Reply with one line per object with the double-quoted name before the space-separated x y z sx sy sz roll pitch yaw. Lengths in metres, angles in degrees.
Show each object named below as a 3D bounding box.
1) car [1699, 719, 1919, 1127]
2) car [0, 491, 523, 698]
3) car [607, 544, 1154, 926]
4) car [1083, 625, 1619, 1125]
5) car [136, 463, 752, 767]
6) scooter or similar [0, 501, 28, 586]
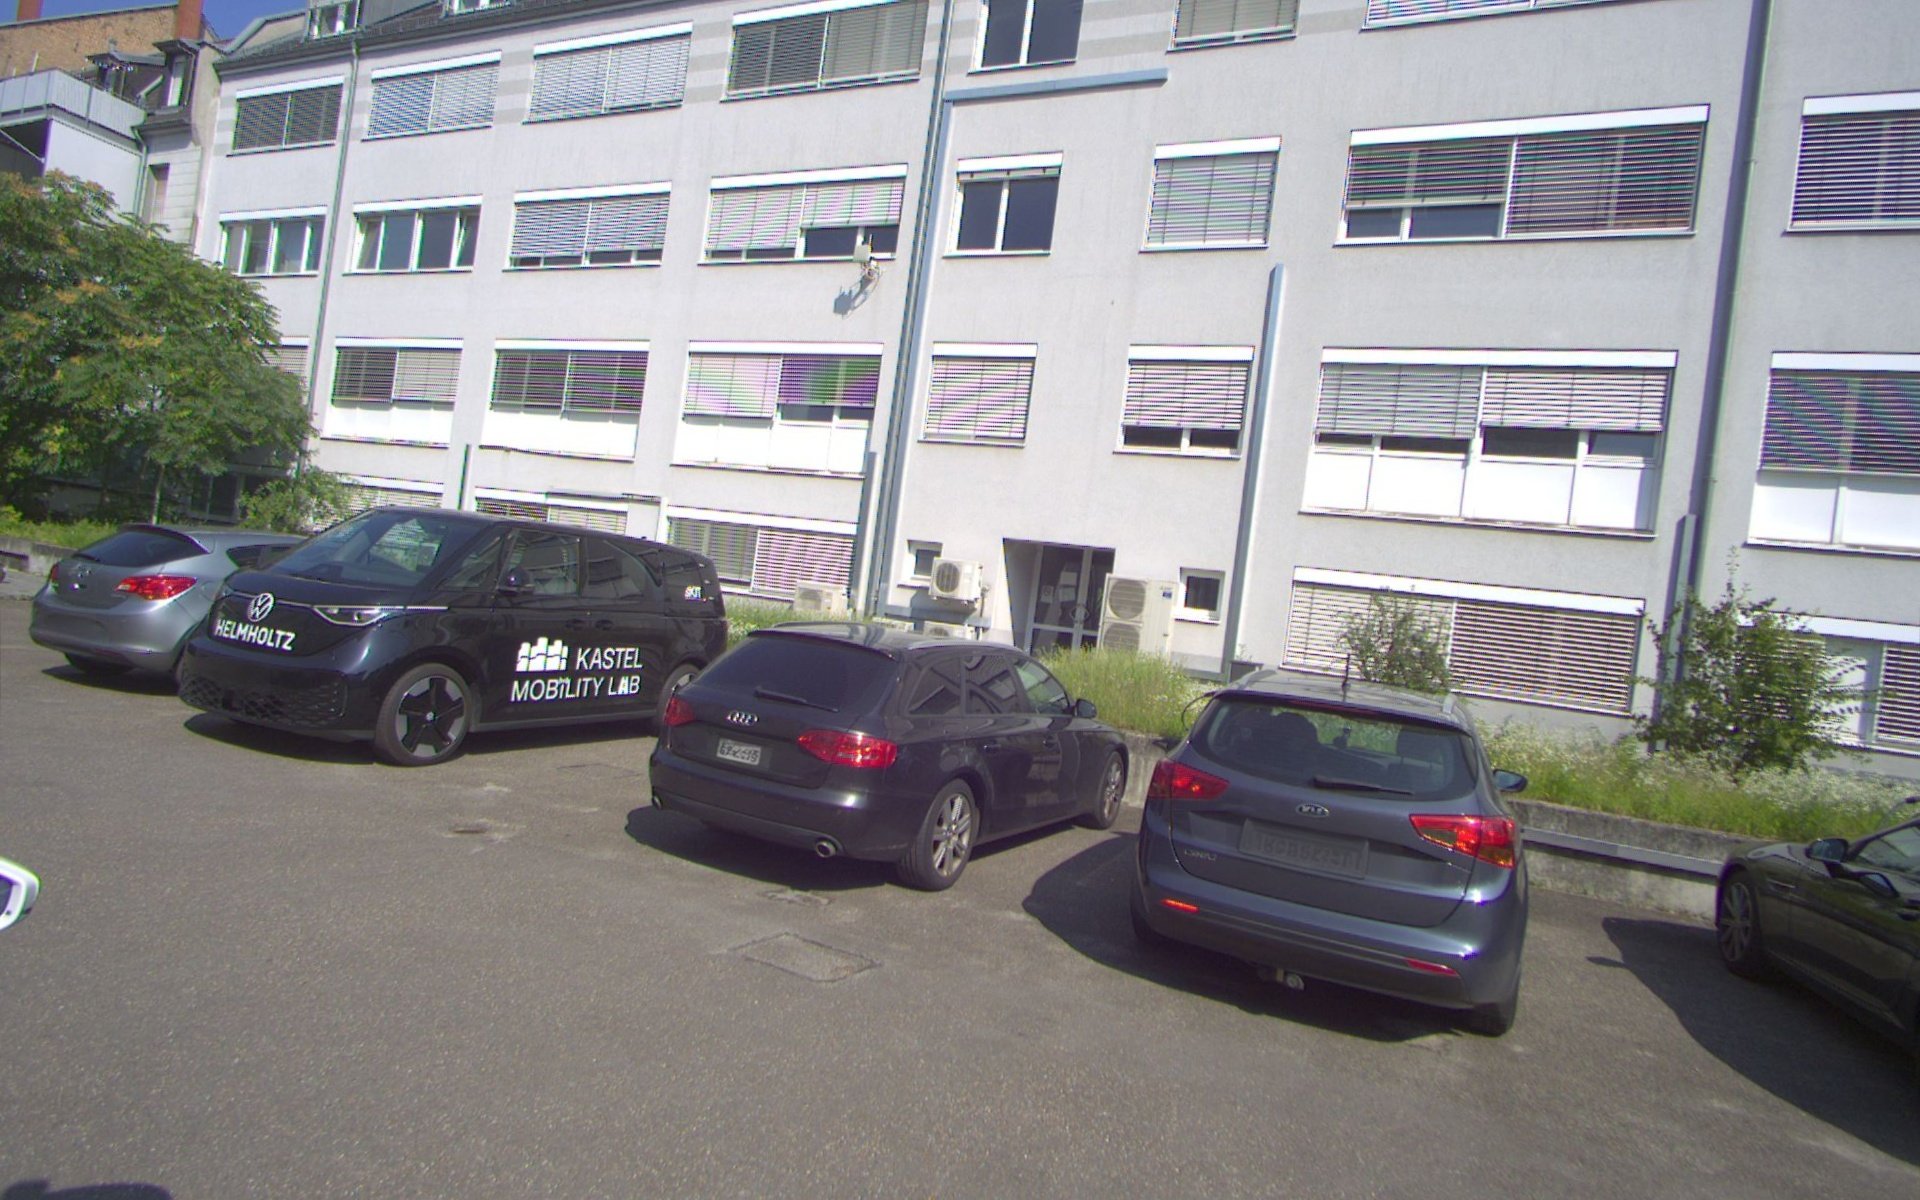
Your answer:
"car" 5.159 1.527 4.511 1.862 1.607 3.814 7 -2 21
"car" -6.543 0.059 9.887 1.742 1.500 3.946 6 -1 21
"car" -0.170 0.815 7.051 1.740 1.711 4.129 7 -2 28
"car" 2.282 1.178 5.797 1.846 1.607 3.875 7 -2 25
"car" -3.935 0.202 8.722 1.848 1.815 4.516 6 -1 21
"scooter or similar" -15.170 -0.938 15.381 1.324 1.276 0.379 7 0 -2
